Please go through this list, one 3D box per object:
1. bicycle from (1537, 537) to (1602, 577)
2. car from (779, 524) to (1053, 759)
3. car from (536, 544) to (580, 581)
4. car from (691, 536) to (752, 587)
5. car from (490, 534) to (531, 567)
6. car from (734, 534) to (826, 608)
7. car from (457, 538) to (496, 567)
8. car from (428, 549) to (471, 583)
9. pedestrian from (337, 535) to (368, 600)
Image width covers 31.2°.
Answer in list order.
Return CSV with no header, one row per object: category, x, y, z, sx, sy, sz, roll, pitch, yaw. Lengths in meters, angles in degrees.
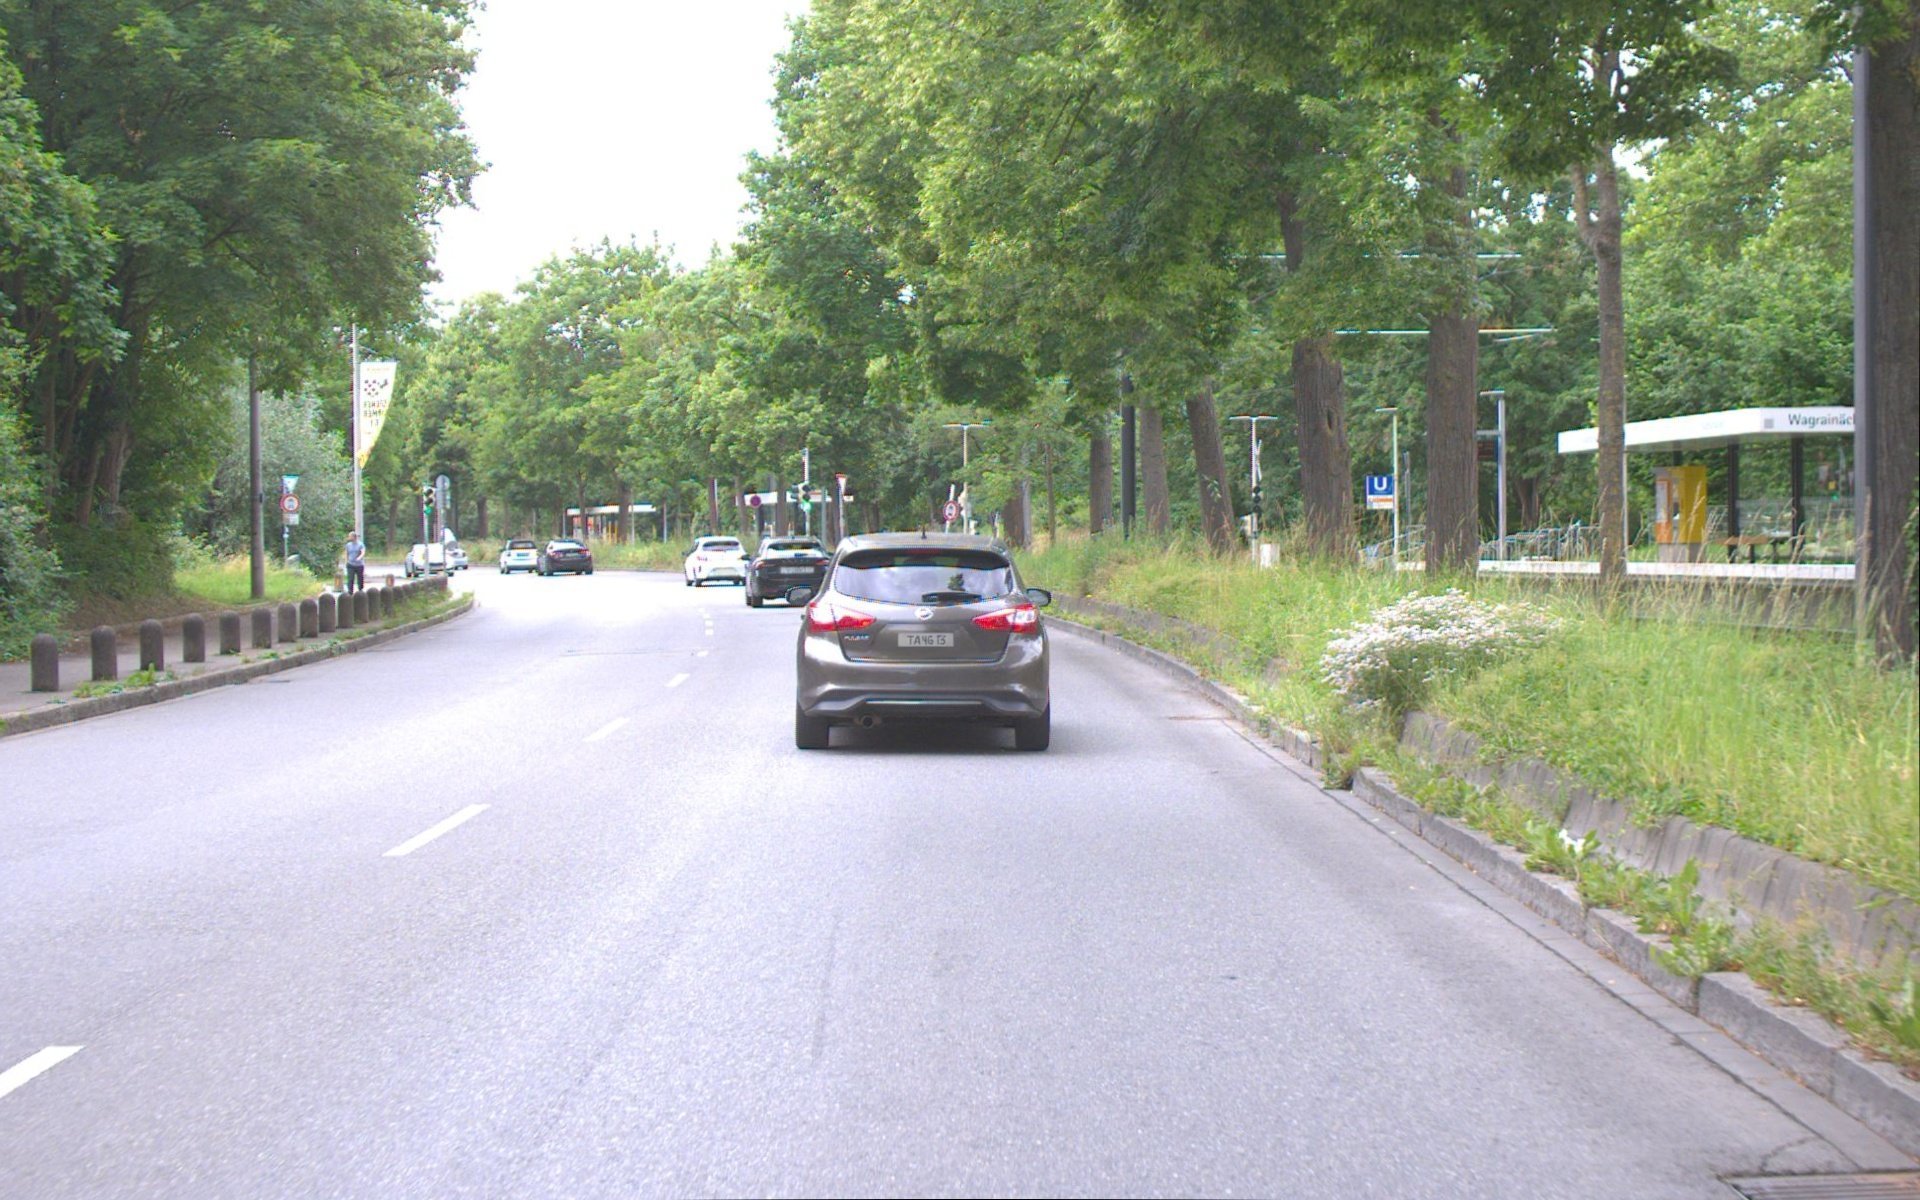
bicycle,15.134,-1.064,85.366,1.508,0.970,0.450,1,1,-8
car,-0.377,0.236,25.283,1.816,1.503,4.001,-2,2,-2
car,-16.433,-1.554,140.455,1.775,1.467,4.001,0,1,-7
car,-7.151,-1.161,103.216,1.775,1.467,4.001,1,1,-4
car,-20.423,-2.269,156.322,1.775,1.467,4.001,0,1,-7
car,-3.727,-0.618,71.556,1.776,1.467,4.000,1,1,-1
car,-25.177,-2.463,179.054,1.775,1.467,4.001,1,1,-5
car,-22.786,-1.539,153.508,1.773,1.434,4.362,-2,1,-7
pedestrian,-15.491,-0.838,87.608,0.689,1.628,0.838,1,1,-6
